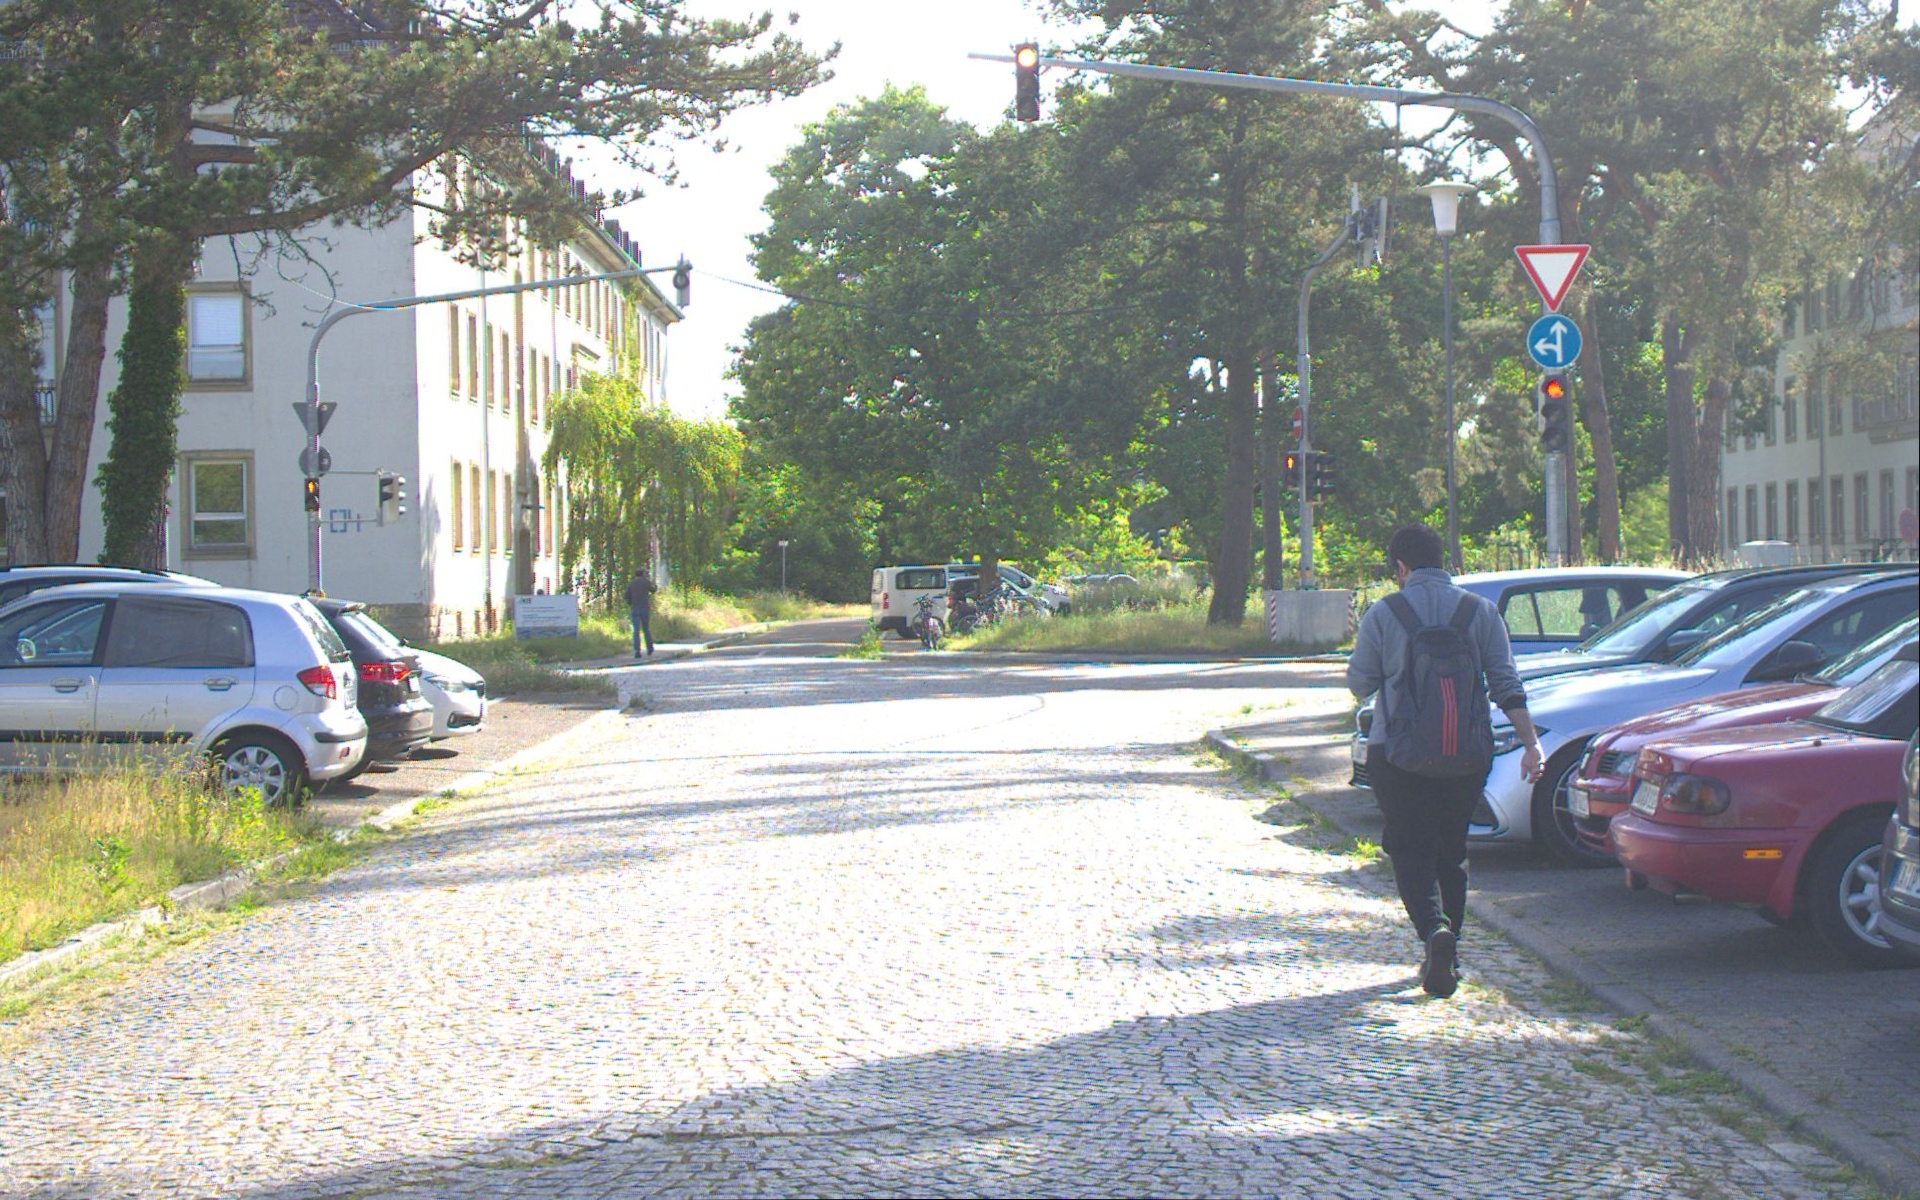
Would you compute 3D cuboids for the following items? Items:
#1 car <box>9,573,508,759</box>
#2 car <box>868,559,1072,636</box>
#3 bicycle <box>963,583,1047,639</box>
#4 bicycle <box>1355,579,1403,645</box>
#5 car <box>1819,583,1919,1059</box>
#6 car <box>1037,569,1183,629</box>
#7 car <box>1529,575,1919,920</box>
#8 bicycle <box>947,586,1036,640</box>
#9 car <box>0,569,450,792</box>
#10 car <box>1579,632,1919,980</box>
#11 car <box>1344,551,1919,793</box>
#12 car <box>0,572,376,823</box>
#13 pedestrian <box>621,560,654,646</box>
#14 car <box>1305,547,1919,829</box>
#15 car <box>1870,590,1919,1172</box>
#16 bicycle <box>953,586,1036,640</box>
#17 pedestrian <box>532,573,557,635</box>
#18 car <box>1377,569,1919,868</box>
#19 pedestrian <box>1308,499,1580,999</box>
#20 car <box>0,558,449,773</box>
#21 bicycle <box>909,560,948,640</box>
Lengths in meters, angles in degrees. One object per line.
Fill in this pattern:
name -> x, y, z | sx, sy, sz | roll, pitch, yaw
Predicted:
car -> -6.202, 0.560, 30.652 | 3.987, 1.491, 1.772 | 2, 1, 4
car -> 0.251, -0.085, 90.255 | 5.065, 1.911, 2.001 | -1, 0, -9
bicycle -> 0.960, 0.227, 73.581 | 1.727, 1.160, 0.561 | -1, 0, -4
bicycle -> 7.377, 0.198, 60.449 | 0.722, 1.111, 2.582 | -1, 0, 9
car -> 4.756, 0.606, 10.743 | 3.663, 1.450, 1.667 | -3, 0, 0
car -> 4.095, -0.036, 94.156 | 3.743, 1.574, 1.742 | -1, 0, -7
car -> 4.770, 0.606, 15.807 | 3.979, 1.443, 1.655 | -2, 0, -1
bicycle -> 0.666, 0.275, 72.356 | 1.834, 1.108, 0.495 | -1, 0, -4
car -> -5.854, 0.554, 25.235 | 3.937, 1.440, 1.691 | 2, 0, -1
car -> 4.290, 0.755, 13.419 | 3.460, 1.238, 1.536 | -1, 0, 0
car -> 4.572, 0.465, 23.405 | 3.673, 1.438, 1.665 | -2, 0, 0
car -> -5.816, 0.596, 22.571 | 3.685, 1.522, 1.699 | 2, 0, -3
pedestrian -> -6.596, 0.062, 70.398 | 0.607, 1.746, 0.630 | 0, 0, -1
car -> 4.575, 0.479, 21.039 | 4.619, 1.450, 1.870 | -3, 1, -2
car -> 4.242, 0.641, 7.952 | 3.781, 1.445, 1.757 | -2, 0, 1
bicycle -> 0.730, 0.271, 72.900 | 1.727, 1.108, 0.484 | -1, 0, -4
pedestrian -> -10.438, 0.090, 86.322 | 0.606, 1.554, 0.545 | -1, 0, -7
car -> 4.539, 0.555, 18.091 | 4.399, 1.384, 1.789 | -2, 0, -1
pedestrian -> 1.754, 0.523, 12.572 | 0.753, 1.719, 0.828 | 4, 0, -1
car -> -6.218, 0.506, 27.919 | 3.879, 1.610, 1.661 | 1, 0, -1
bicycle -> -0.641, -0.008, 68.897 | 0.753, 1.575, 2.537 | -1, 0, -1
